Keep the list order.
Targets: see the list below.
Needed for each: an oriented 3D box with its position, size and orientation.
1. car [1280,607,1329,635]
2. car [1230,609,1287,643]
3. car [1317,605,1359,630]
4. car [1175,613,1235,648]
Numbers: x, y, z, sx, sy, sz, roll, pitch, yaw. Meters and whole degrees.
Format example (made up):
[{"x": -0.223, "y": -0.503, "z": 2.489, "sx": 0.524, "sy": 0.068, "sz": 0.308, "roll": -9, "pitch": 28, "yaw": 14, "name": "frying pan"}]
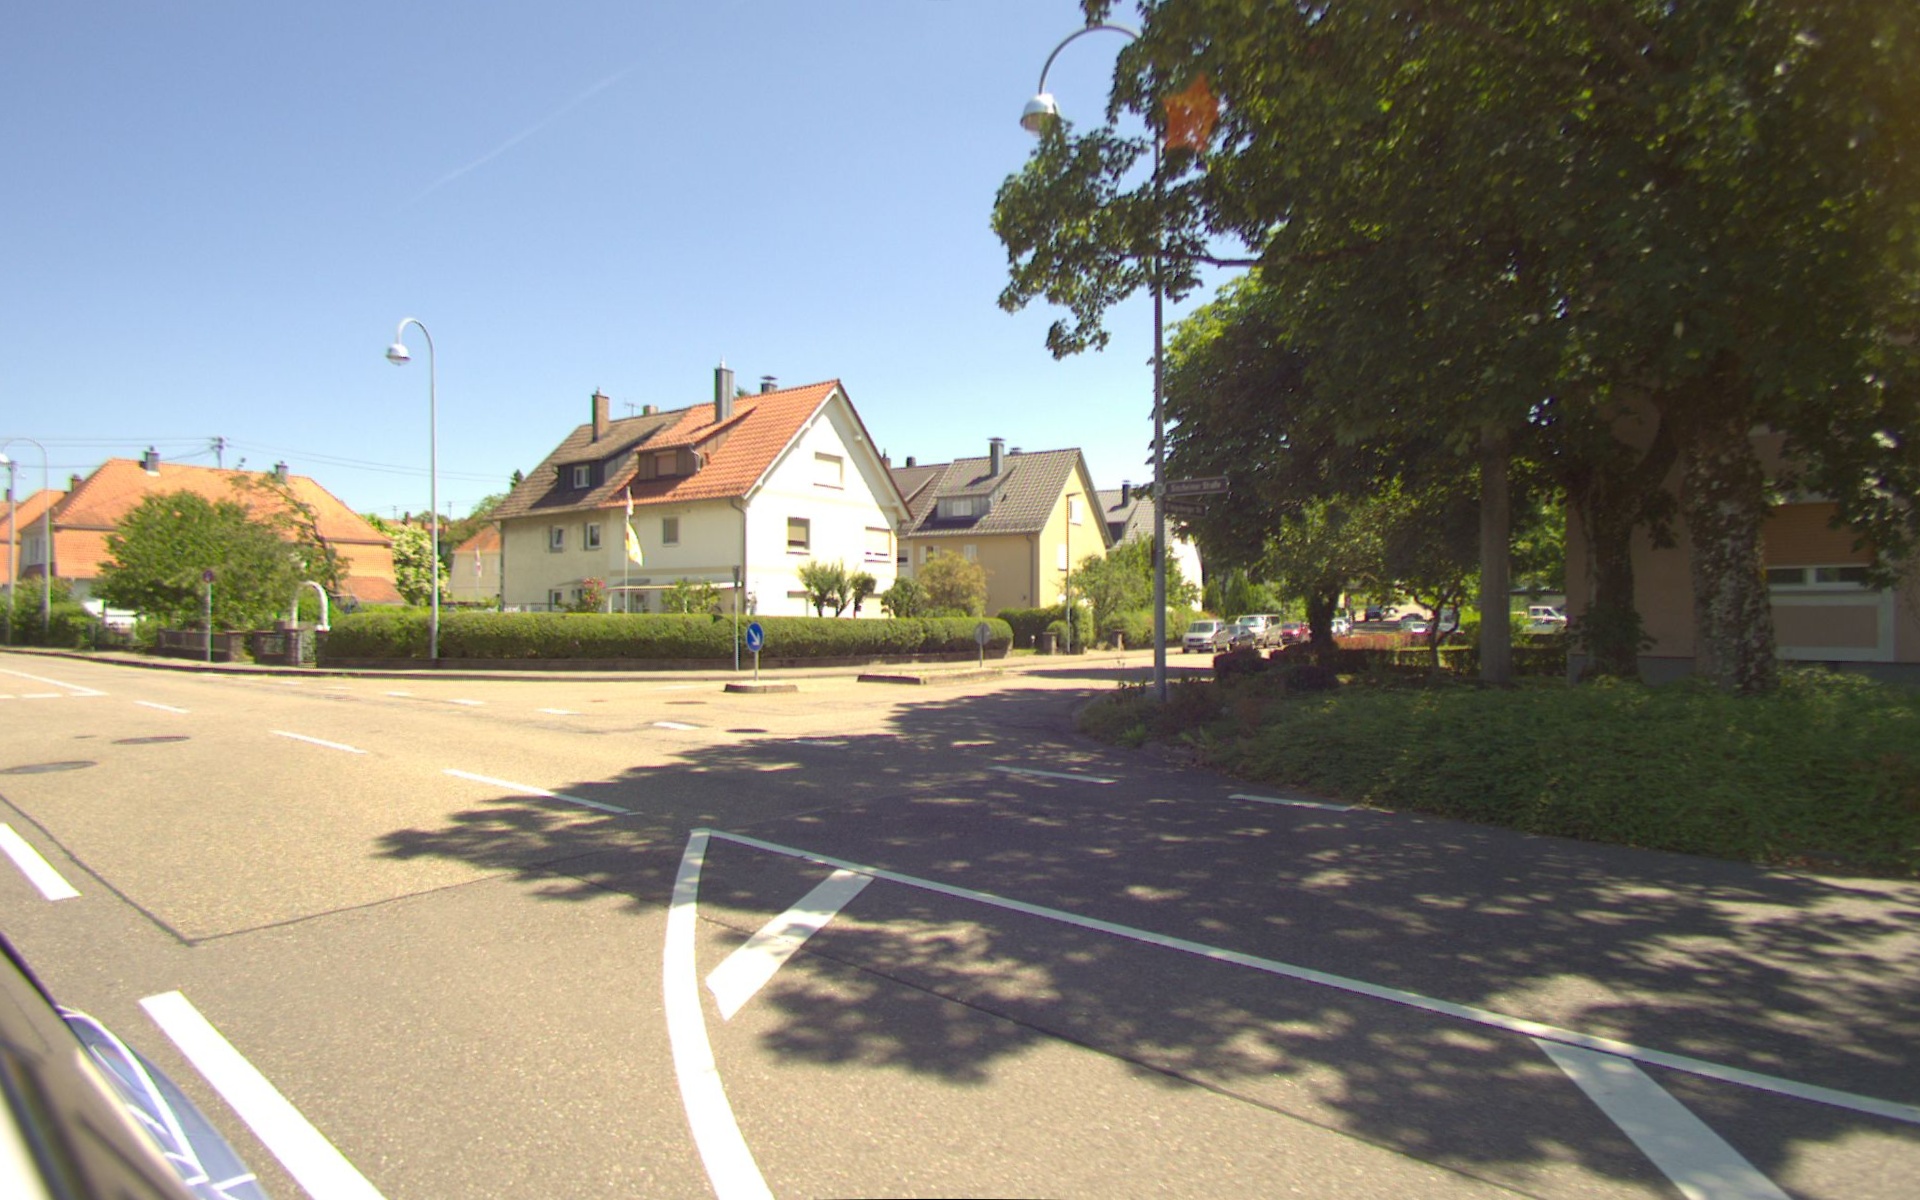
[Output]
[{"x": 22.893, "y": 1.366, "z": 67.165, "sx": 1.995, "sy": 1.755, "sz": 3.953, "roll": -1, "pitch": 0, "yaw": 35, "name": "car"}, {"x": 17.535, "y": 1.512, "z": 59.370, "sx": 1.995, "sy": 1.844, "sz": 3.953, "roll": -1, "pitch": 0, "yaw": 35, "name": "car"}, {"x": 28.791, "y": 1.289, "z": 77.027, "sx": 1.995, "sy": 1.755, "sz": 3.953, "roll": -1, "pitch": 0, "yaw": 35, "name": "car"}, {"x": 12.282, "y": 1.501, "z": 50.542, "sx": 1.826, "sy": 1.598, "sz": 3.958, "roll": -1, "pitch": 0, "yaw": 31, "name": "car"}]
